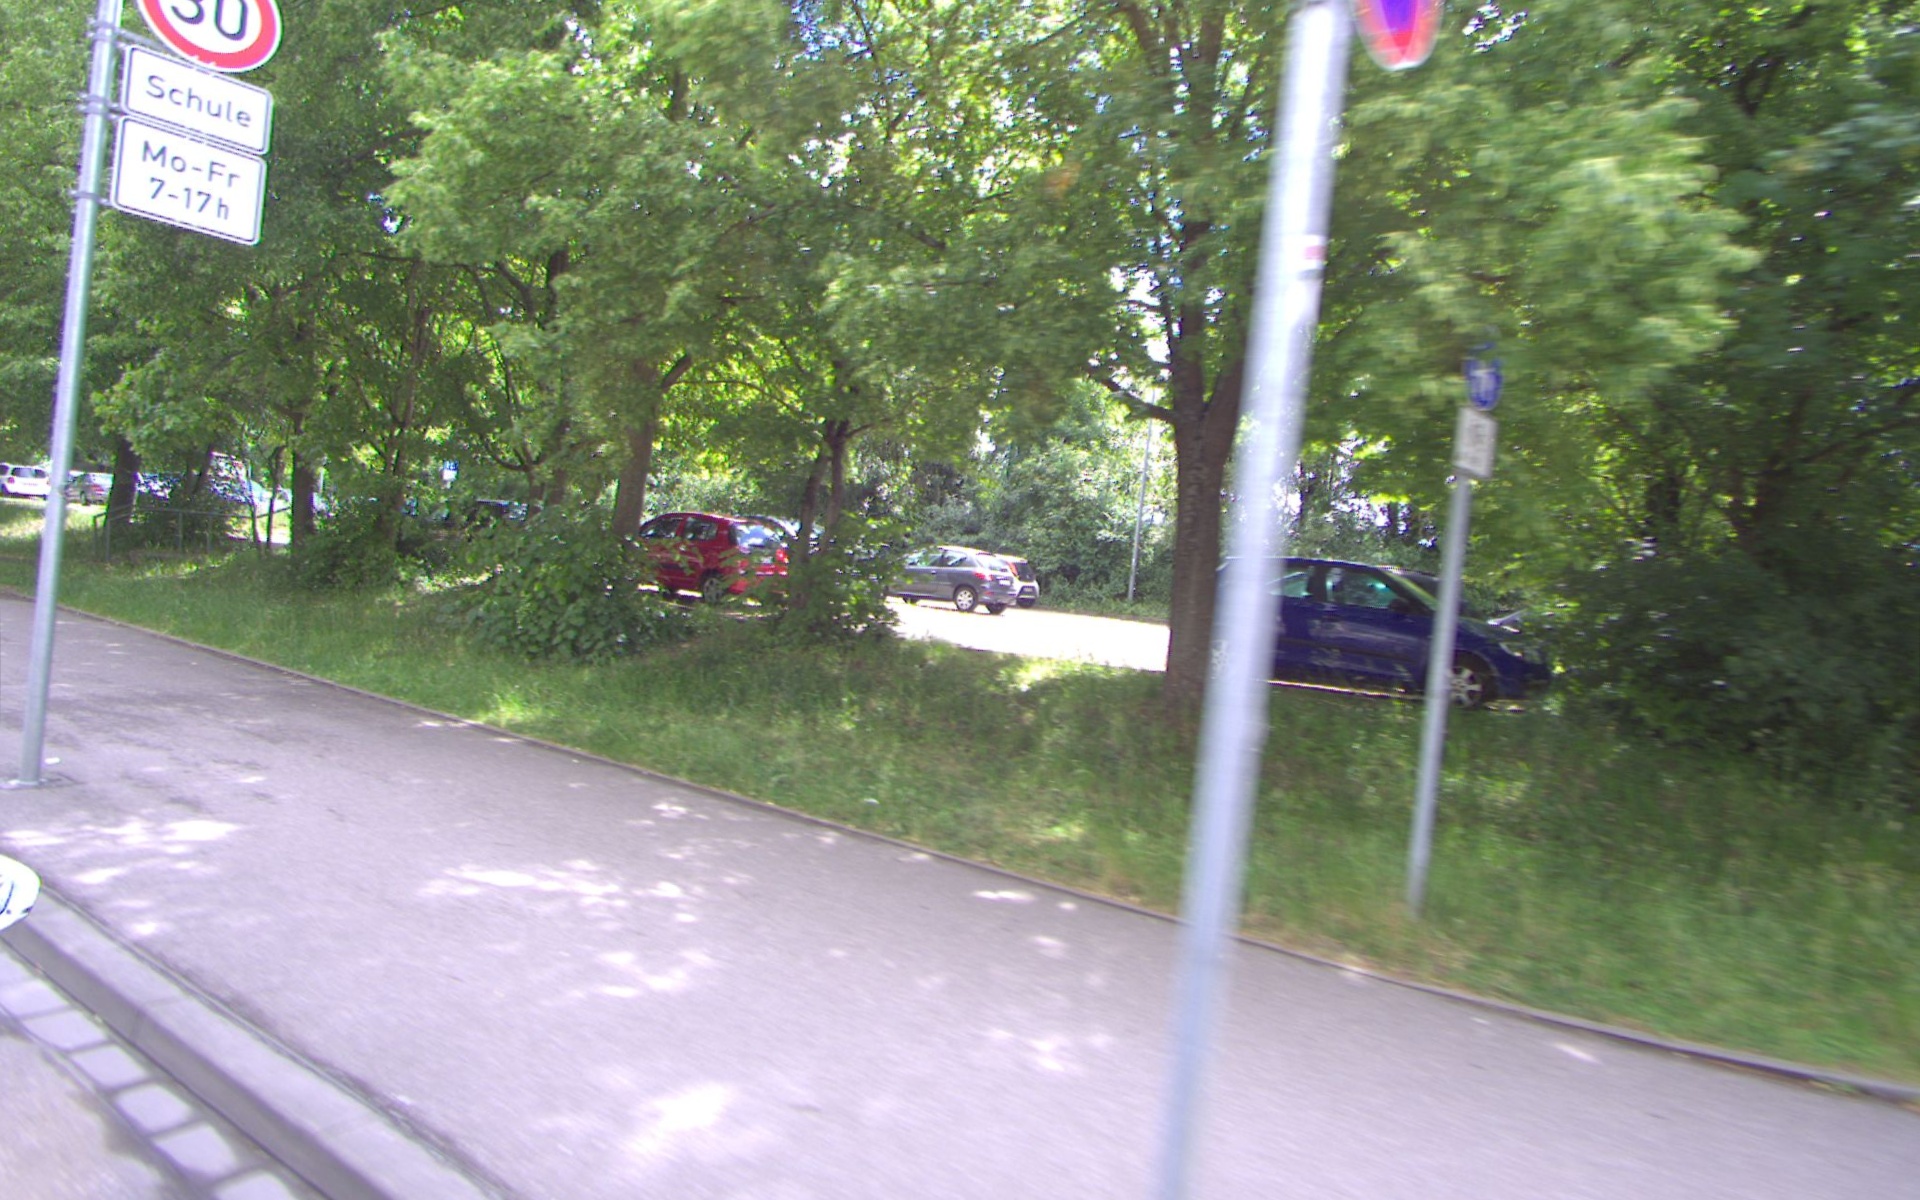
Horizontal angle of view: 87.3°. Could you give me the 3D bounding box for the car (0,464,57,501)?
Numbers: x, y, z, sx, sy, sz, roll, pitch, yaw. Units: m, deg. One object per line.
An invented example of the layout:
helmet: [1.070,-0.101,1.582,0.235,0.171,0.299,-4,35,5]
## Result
car: [-44.949,-5.640,47.883,4.055,1.439,1.841,7,2,32]

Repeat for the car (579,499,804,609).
car: [-4.682,-0.808,17.418,3.602,1.520,1.661,7,2,31]

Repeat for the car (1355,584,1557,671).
car: [11.351,0.593,23.117,3.916,1.489,1.637,7,3,31]

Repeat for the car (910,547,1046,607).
car: [0.509,-0.683,29.656,3.602,1.346,1.631,7,2,31]

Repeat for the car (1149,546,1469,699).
car: [4.777,0.229,13.899,3.840,1.657,1.678,5,3,29]

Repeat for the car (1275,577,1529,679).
car: [7.789,0.441,17.830,3.863,1.439,1.615,4,2,32]

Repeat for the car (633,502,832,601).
car: [-4.597,-0.978,20.194,3.602,1.603,1.752,7,2,31]

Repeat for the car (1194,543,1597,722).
car: [4.775,0.305,11.263,3.749,1.530,1.826,5,0,29]

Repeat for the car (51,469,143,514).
car: [-35.595,-4.495,41.475,4.280,1.461,1.613,7,3,32]

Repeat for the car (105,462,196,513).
car: [-31.300,-4.350,38.848,4.360,1.577,1.469,8,4,34]

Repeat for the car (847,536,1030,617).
car: [-0.523,-0.541,23.420,3.793,1.461,1.755,7,3,29]

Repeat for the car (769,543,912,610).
car: [-3.854,-0.763,32.464,4.031,1.645,2.062,7,0,30]

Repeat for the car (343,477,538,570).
car: [-10.655,-1.575,20.545,4.070,1.535,1.626,7,3,31]
